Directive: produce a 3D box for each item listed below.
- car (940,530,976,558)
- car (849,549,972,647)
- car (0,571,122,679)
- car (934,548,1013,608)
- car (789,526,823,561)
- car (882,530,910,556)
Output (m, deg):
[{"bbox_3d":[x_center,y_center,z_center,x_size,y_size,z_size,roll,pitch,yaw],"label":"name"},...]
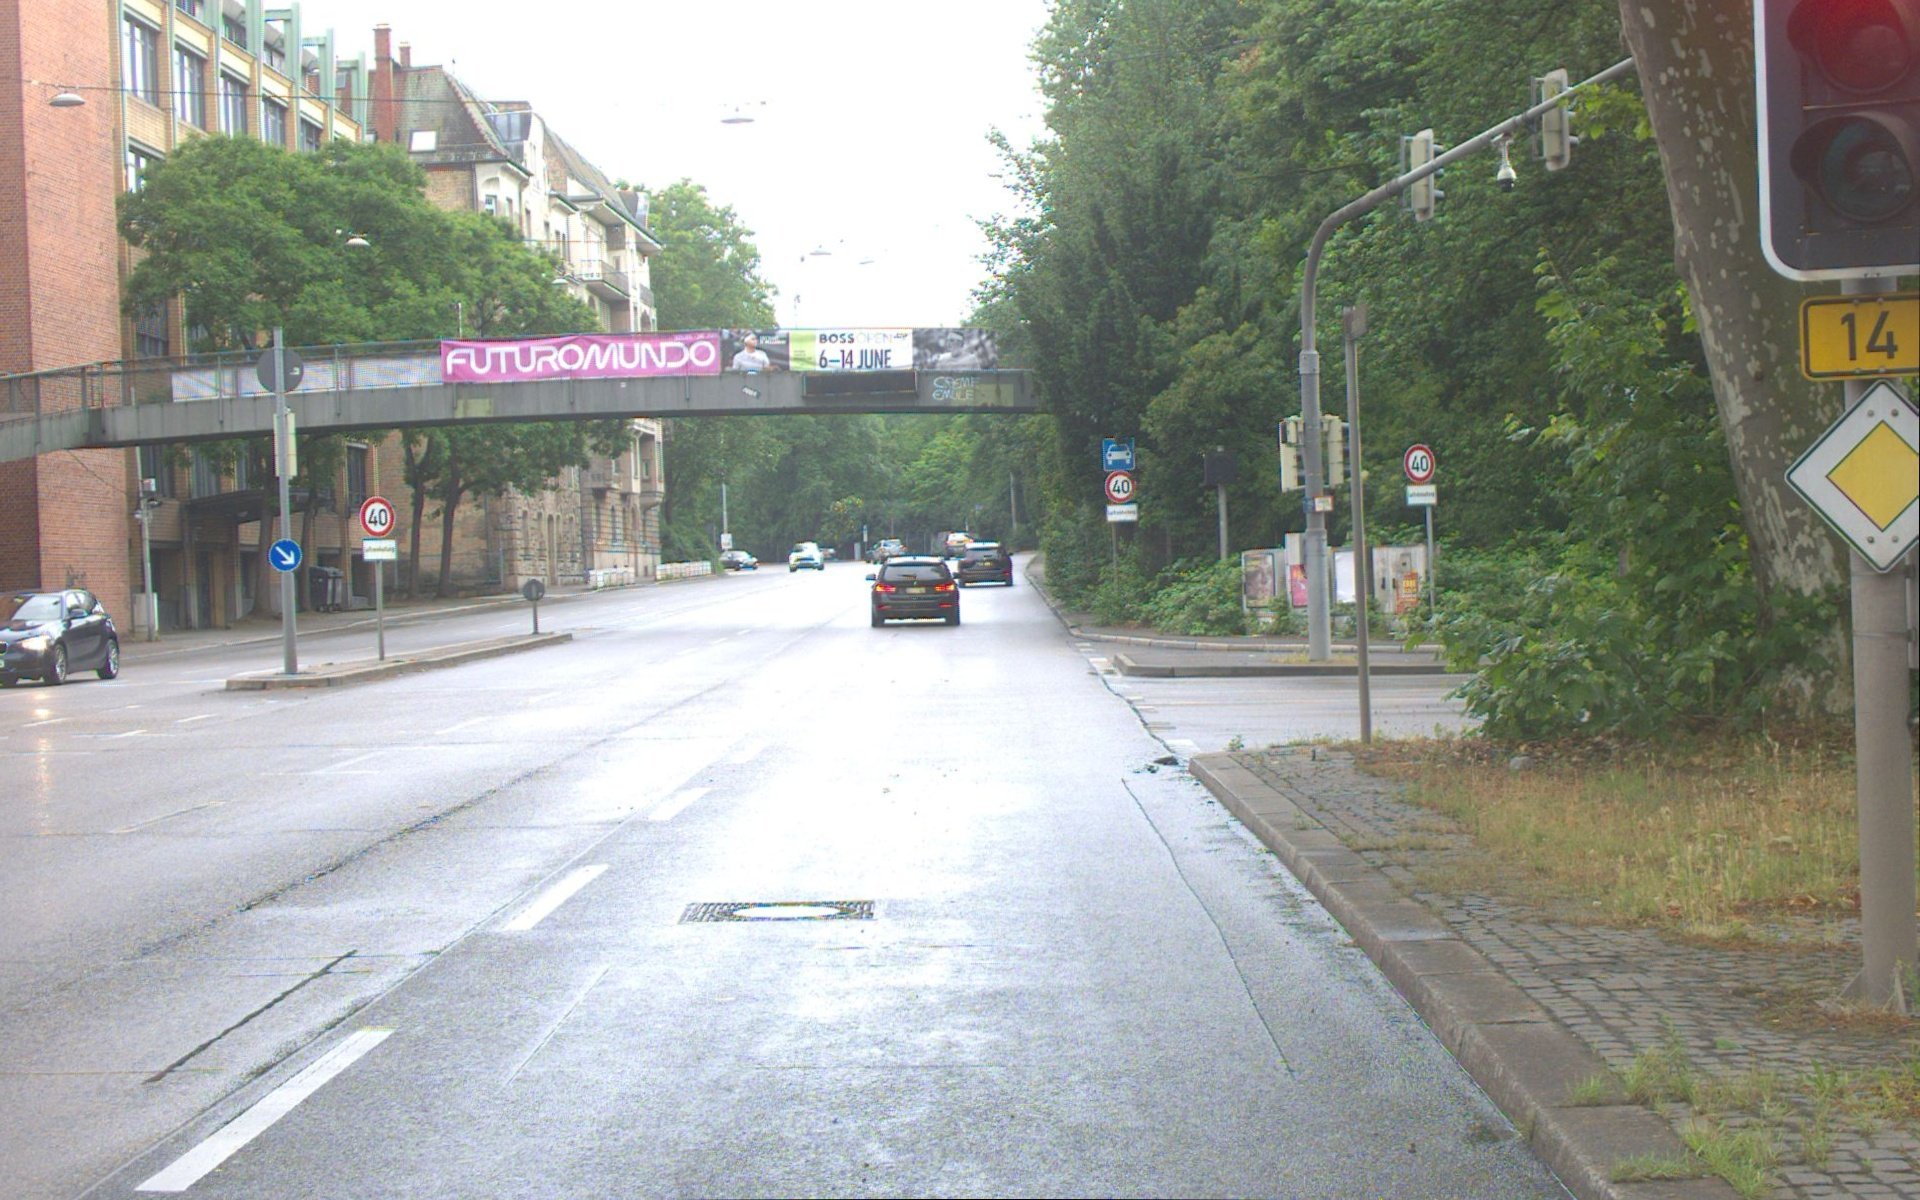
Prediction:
[{"bbox_3d":[-0.152,-3.588,220.764,2.120,1.729,4.199,0,2,-3],"label":"car"},{"bbox_3d":[-1.056,-0.053,71.114,2.128,1.829,4.354,-3,0,-5],"label":"car"},{"bbox_3d":[-13.891,0.354,50.796,1.993,1.514,4.000,-2,0,0],"label":"car"},{"bbox_3d":[0.424,-0.731,113.610,2.128,1.829,4.354,-3,0,-5],"label":"car"},{"bbox_3d":[-9.048,-3.304,201.972,1.763,1.919,3.706,-3,0,-1],"label":"car"},{"bbox_3d":[-4.381,-3.889,234.649,1.763,1.691,3.706,-3,0,-1],"label":"car"}]
